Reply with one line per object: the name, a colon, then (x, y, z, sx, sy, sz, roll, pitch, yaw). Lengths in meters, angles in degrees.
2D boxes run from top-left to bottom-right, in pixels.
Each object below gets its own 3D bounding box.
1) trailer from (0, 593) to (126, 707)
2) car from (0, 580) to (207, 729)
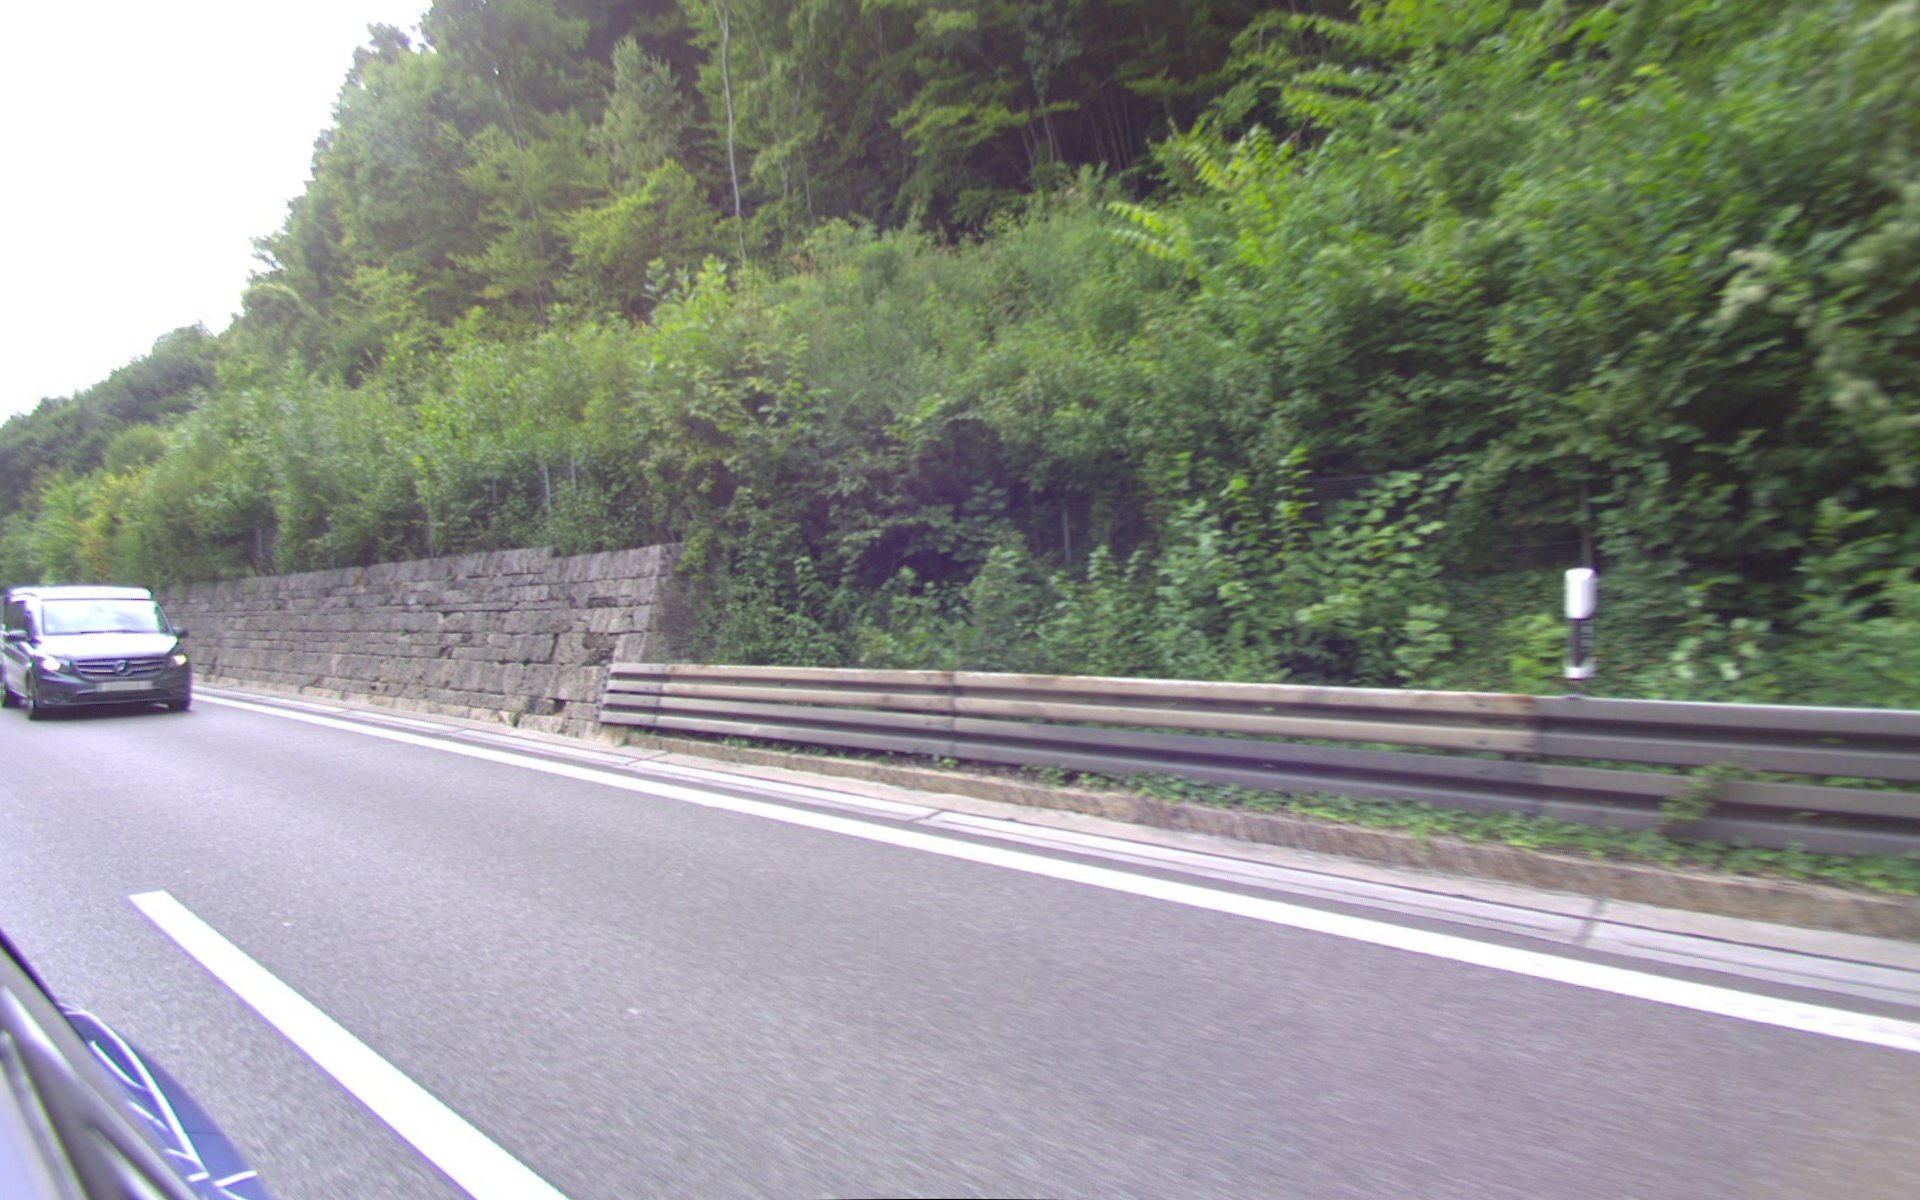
trailer: (-17.511, 0.908, 19.271, 3.428, 1.954, 1.951, -2, -1, 40)
car: (-14.136, 0.797, 16.349, 5.536, 2.029, 1.973, -2, -1, 41)
